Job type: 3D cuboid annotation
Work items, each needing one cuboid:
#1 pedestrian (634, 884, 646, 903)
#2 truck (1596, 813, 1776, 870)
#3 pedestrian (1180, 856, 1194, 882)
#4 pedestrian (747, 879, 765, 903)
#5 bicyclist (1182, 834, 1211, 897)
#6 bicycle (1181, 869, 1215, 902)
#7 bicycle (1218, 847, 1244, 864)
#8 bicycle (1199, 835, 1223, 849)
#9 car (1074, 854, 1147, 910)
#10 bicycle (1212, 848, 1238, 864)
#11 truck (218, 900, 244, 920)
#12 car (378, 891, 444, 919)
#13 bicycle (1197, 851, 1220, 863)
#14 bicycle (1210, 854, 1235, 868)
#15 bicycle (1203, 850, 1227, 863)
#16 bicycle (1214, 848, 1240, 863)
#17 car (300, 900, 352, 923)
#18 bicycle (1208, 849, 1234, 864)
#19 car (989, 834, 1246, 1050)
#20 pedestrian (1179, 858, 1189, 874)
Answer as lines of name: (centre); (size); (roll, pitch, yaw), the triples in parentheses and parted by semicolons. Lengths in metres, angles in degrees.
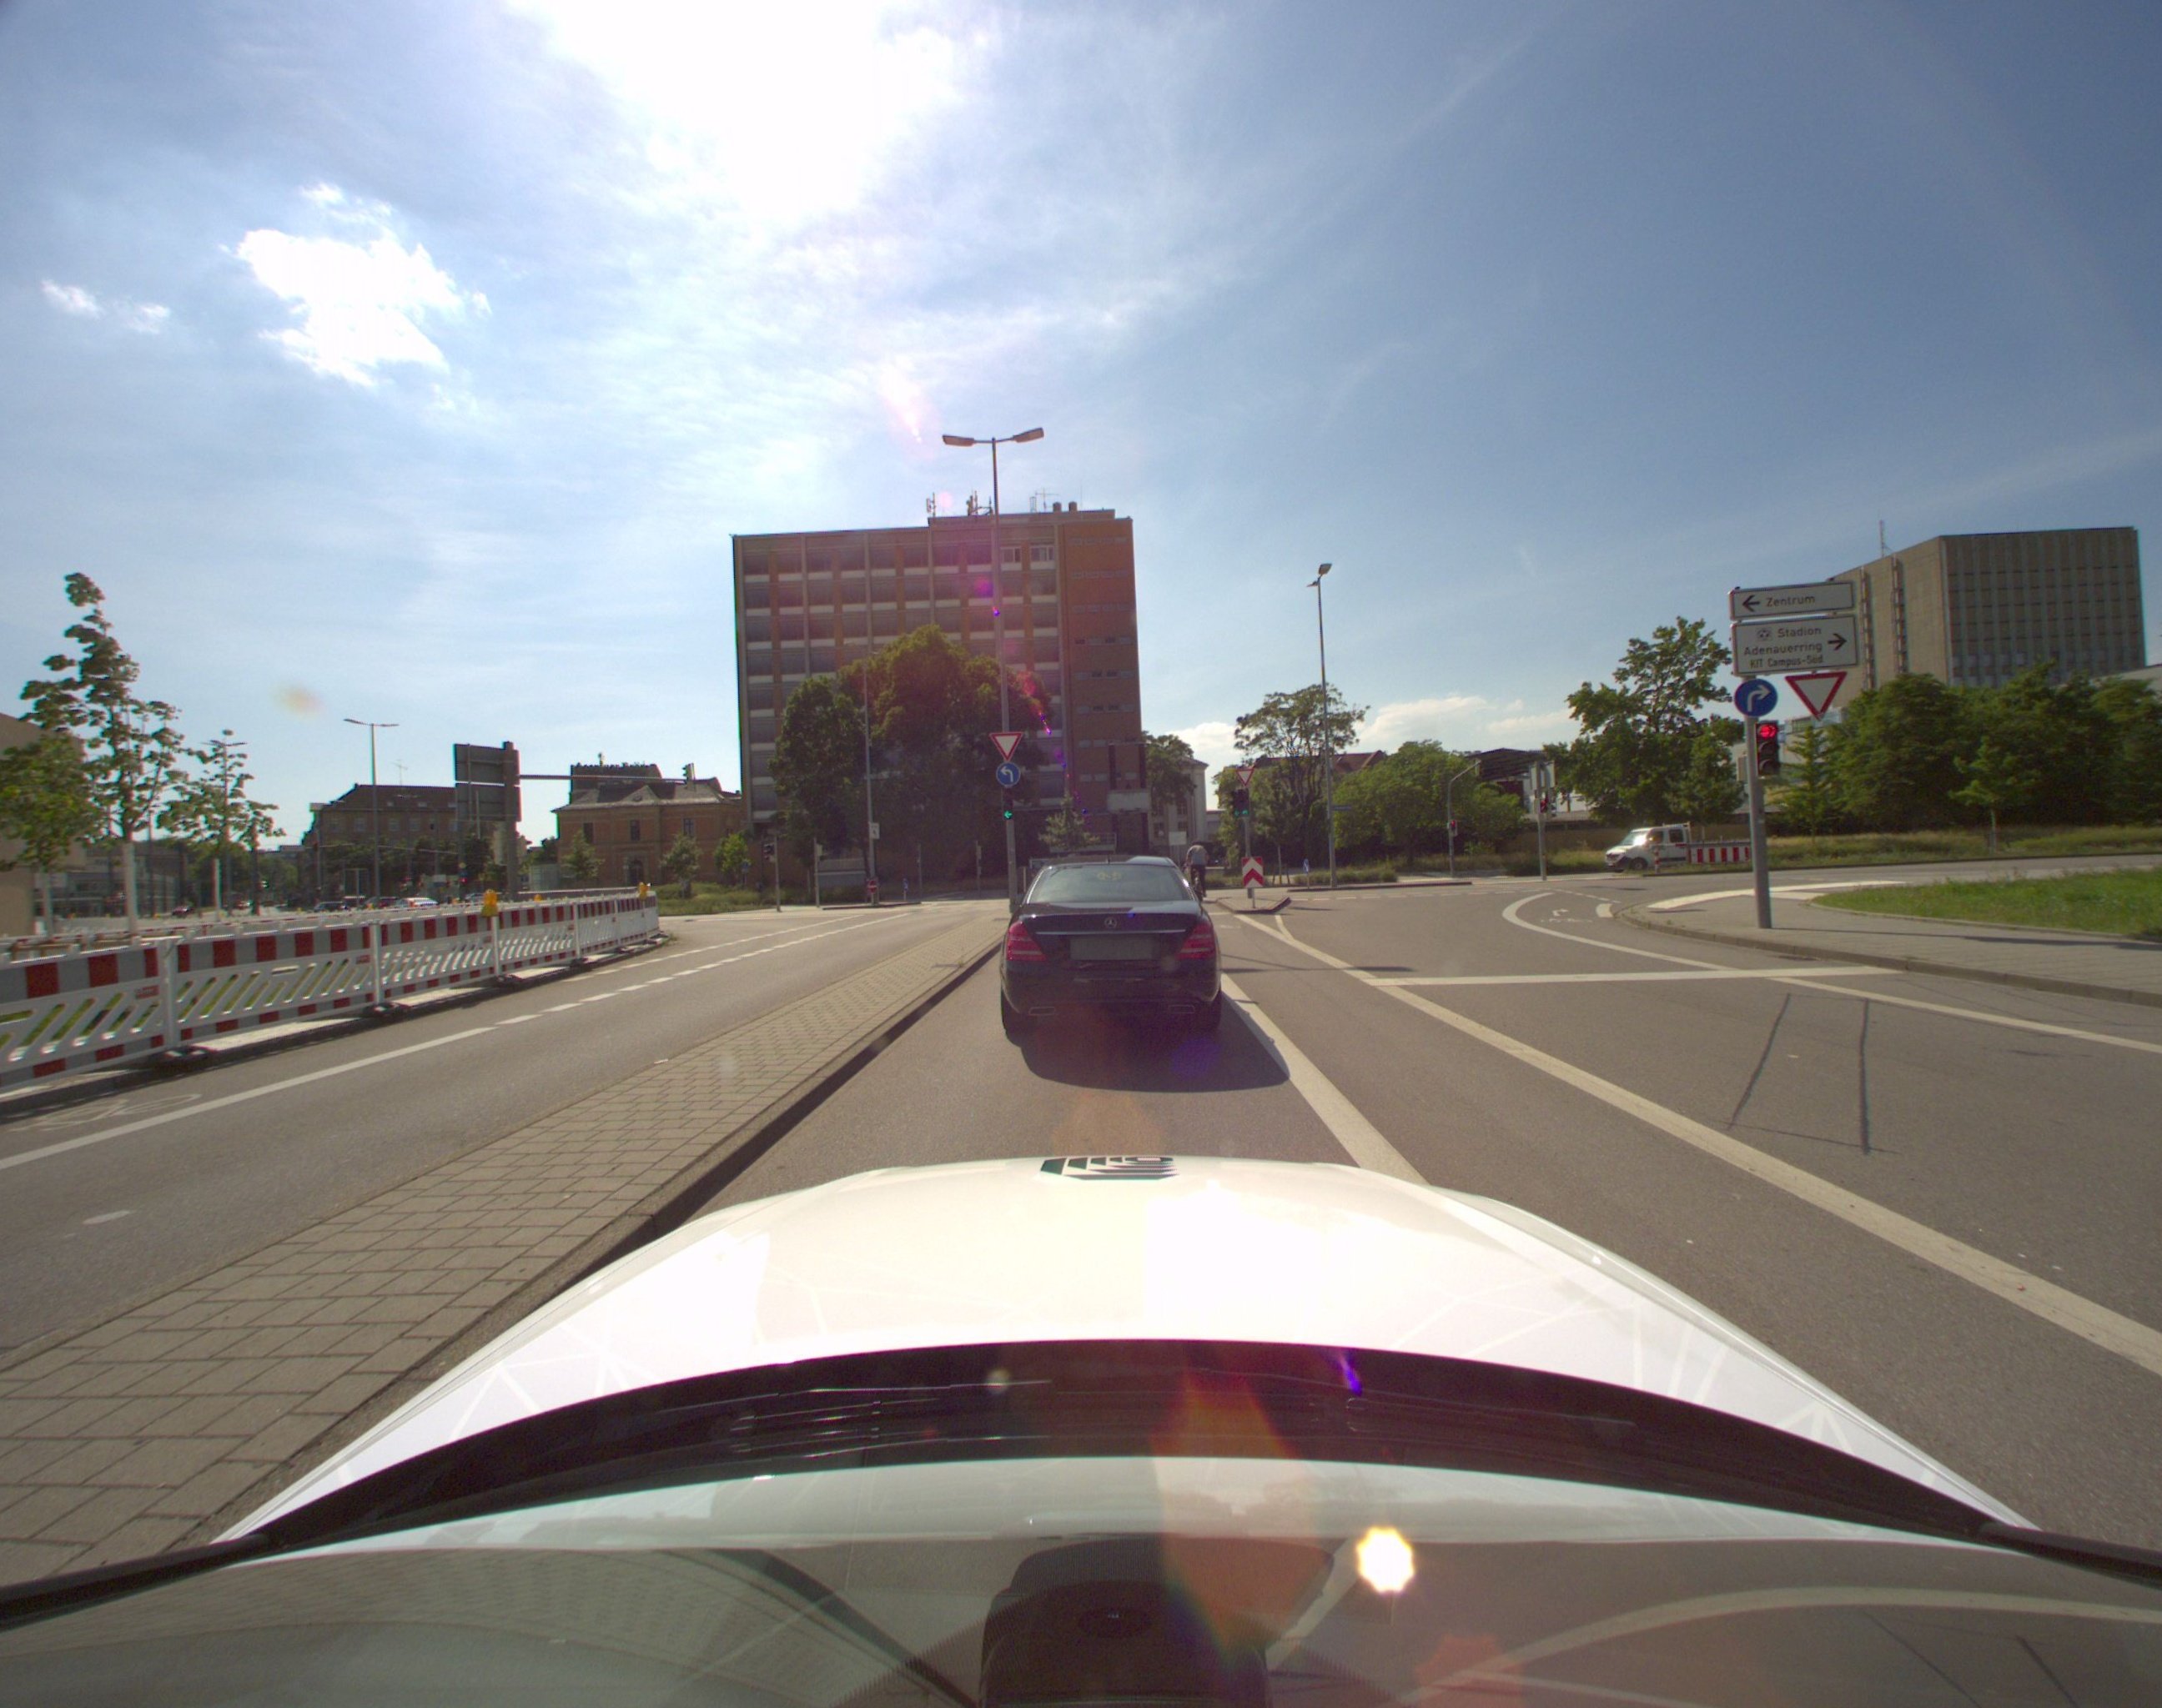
pedestrian: (-39.319, 3.552, 72.567); (0.642, 1.661, 0.654); (-1, -1, 28)
truck: (30.008, -0.596, 40.582); (6.997, 2.356, 2.414); (-3, -2, 2)
pedestrian: (6.851, 0.973, 52.707); (0.807, 1.579, 0.693); (-3, -1, 3)
pedestrian: (-24.222, 2.785, 60.700); (0.790, 1.725, 0.878); (-3, -1, 24)
bicyclist: (3.528, 0.352, 24.957); (0.684, 1.878, 0.859); (-1, -1, -2)
bicycle: (3.538, 0.945, 24.751); (0.690, 0.946, 1.957); (0, -1, -2)
bicycle: (17.135, 0.176, 93.094); (2.813, 1.744, 0.842); (-3, 0, 1)
bicycle: (16.342, -1.535, 102.051); (2.813, 1.559, 0.842); (-3, 0, 1)
car: (0.884, 0.788, 24.267); (1.986, 1.508, 4.001); (0, -1, 2)
bicycle: (16.895, 0.208, 95.624); (2.813, 1.659, 0.842); (-3, 1, 1)
truck: (-168.113, 11.006, 161.004); (7.827, 3.730, 3.093); (-4, -1, 41)
car: (-47.884, 3.650, 58.228); (3.951, 1.816, 2.011); (-3, -1, 24)
bicycle: (16.654, 0.366, 106.076); (2.812, 1.480, 0.842); (-3, 0, 2)
bicycle: (16.897, 0.831, 97.449); (2.813, 1.537, 0.842); (-3, 0, 1)
bicycle: (17.067, 0.344, 103.866); (2.813, 1.500, 0.842); (-3, 0, 1)
bicycle: (16.955, 0.178, 94.536); (2.813, 1.649, 0.842); (-3, 0, 1)
car: (-55.574, 4.237, 59.902); (3.948, 1.510, 1.811); (-3, -1, 32)
bicycle: (16.651, 0.257, 96.775); (2.813, 1.587, 0.842); (-3, 0, 1)
car: (0.142, 0.655, 8.270); (1.855, 1.530, 4.707); (-1, -1, -3)
pedestrian: (8.001, 0.933, 63.212); (0.788, 1.214, 0.759); (-1, -1, 8)
